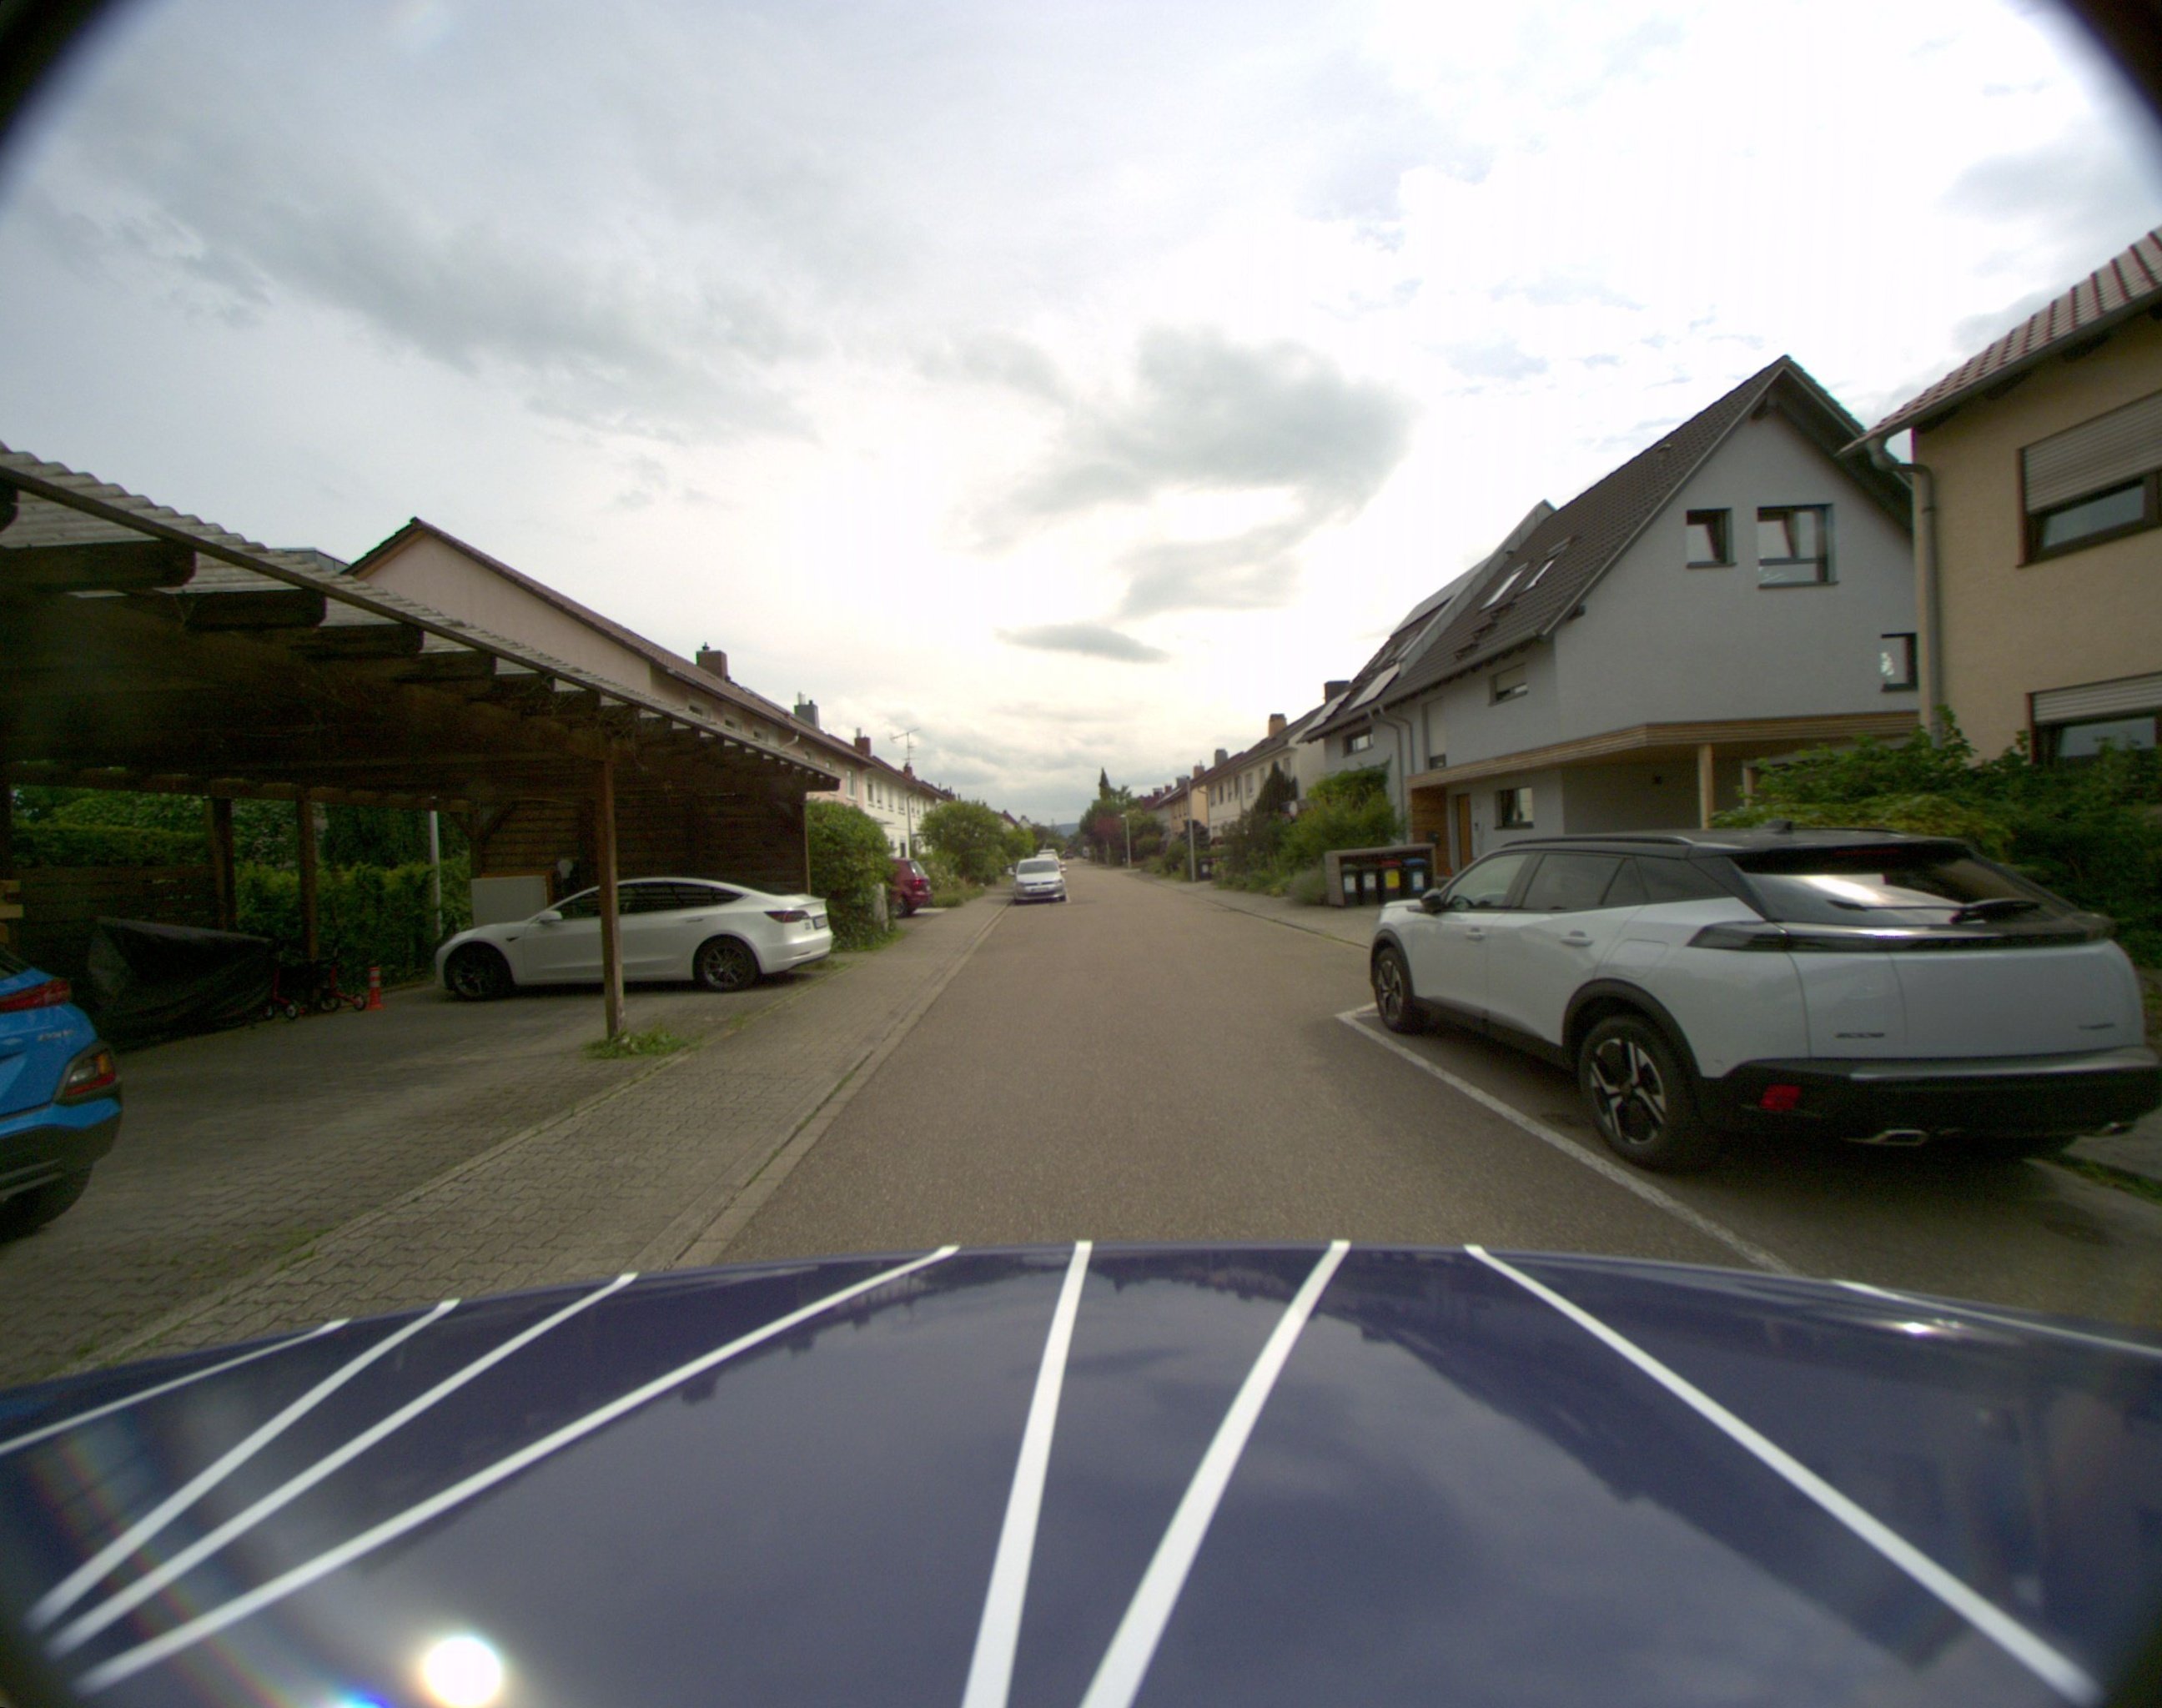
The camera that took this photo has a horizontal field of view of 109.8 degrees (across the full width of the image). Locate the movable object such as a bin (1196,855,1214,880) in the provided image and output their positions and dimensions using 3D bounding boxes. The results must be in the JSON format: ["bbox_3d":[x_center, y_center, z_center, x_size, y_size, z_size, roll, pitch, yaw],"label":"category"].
[{"bbox_3d":[5.343,0.568,32.693,0.603,1.021,0.665,-2,1,-1],"label":"movable object such as a bin"}]

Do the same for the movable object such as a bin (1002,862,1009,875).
[{"bbox_3d":[-5.680,1.060,56.939,0.432,0.916,0.464,-4,1,-6],"label":"movable object such as a bin"}]

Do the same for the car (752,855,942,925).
[{"bbox_3d":[-5.956,0.893,19.769,4.281,1.551,1.934,-2,1,-1],"label":"car"}]

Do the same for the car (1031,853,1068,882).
[{"bbox_3d":[-1.820,0.703,42.043,1.843,1.404,4.635,-2,0,-4],"label":"car"}]

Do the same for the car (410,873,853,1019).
[{"bbox_3d":[-5.508,1.088,9.877,4.462,1.424,2.026,-2,0,-3],"label":"car"}]

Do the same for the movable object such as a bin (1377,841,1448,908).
[{"bbox_3d":[7.129,0.421,16.392,0.952,1.304,1.000,-6,1,-2],"label":"movable object such as a bin"}]

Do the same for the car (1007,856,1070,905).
[{"bbox_3d":[-1.445,0.824,25.704,1.870,1.408,4.251,-3,0,-4],"label":"car"}]

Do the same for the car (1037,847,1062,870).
[{"bbox_3d":[-2.898,0.381,69.219,2.026,1.936,4.745,-2,0,-4],"label":"car"}]

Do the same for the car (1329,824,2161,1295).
[{"bbox_3d":[3.394,0.685,4.924,1.939,1.547,4.633,-2,0,-1],"label":"car"}]

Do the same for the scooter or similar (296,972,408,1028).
[{"bbox_3d":[-8.199,1.639,8.560,0.863,0.514,0.341,-3,1,-4],"label":"scooter or similar"}]

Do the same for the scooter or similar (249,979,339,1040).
[{"bbox_3d":[-8.266,1.629,7.990,0.643,0.548,0.237,-3,1,-4],"label":"scooter or similar"}]

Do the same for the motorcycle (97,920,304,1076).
[{"bbox_3d":[-8.464,1.321,7.390,0.354,1.224,1.478,-3,0,-6],"label":"motorcycle"}]

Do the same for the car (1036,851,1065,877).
[{"bbox_3d":[-2.050,0.620,50.323,1.718,1.535,3.972,-5,0,-3],"label":"car"}]

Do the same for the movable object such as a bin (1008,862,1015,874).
[{"bbox_3d":[-5.206,1.037,56.915,0.408,0.916,0.420,-3,1,-6],"label":"movable object such as a bin"}]

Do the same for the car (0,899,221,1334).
[{"bbox_3d":[-5.898,1.045,2.323,4.058,1.514,1.949,-2,0,-4],"label":"car"}]

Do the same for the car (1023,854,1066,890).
[{"bbox_3d":[-1.664,0.787,36.032,1.778,1.427,4.824,-5,1,-1],"label":"car"}]

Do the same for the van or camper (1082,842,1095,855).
[{"bbox_3d":[1.589,-1.215,163.327,2.347,2.719,5.746,-3,0,-1],"label":"van or camper"}]
